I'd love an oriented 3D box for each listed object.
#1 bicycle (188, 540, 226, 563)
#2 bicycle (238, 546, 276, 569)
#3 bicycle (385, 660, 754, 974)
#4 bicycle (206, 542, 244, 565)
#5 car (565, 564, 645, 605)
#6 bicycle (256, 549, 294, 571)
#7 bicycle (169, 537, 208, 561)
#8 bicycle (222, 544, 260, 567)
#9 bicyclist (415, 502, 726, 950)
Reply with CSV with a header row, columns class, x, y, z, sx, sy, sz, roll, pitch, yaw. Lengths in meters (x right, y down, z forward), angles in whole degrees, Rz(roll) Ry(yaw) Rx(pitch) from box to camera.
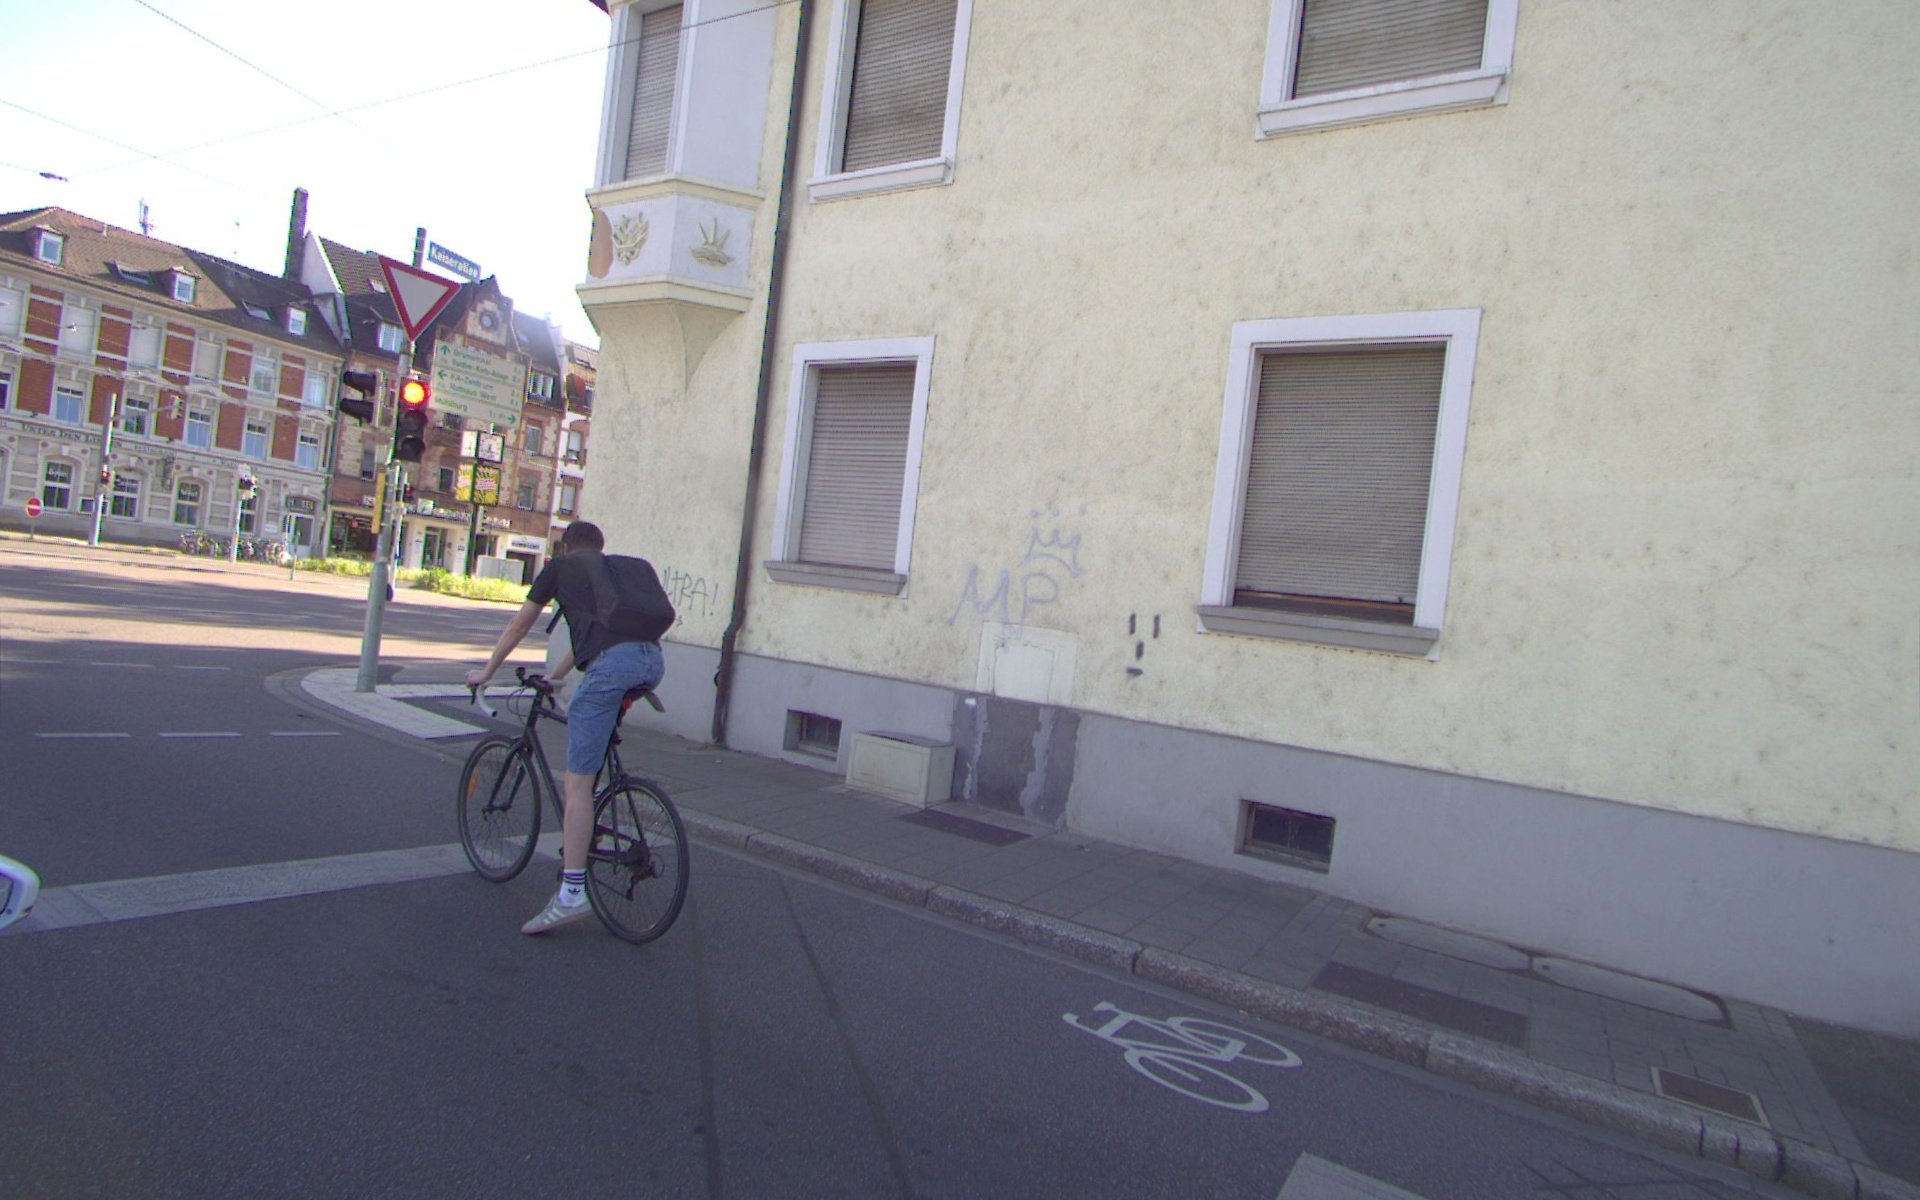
class,x,y,z,sx,sy,sz,roll,pitch,yaw
bicycle,-34.551,-2.228,46.145,2.125,0.850,0.659,6,-2,33
bicycle,-33.488,-2.018,47.893,2.125,0.850,0.659,6,-2,33
bicycle,-1.791,0.875,4.505,1.721,0.982,0.519,7,0,32
bicycle,-34.177,-2.154,46.766,2.125,0.850,0.659,6,-2,33
car,-23.008,-0.996,65.324,1.968,2.038,4.430,7,-1,34
bicycle,-33.100,-1.939,48.598,2.125,0.850,0.659,6,-2,33
bicycle,-34.867,-2.296,45.478,2.125,0.850,0.659,6,-2,33
bicycle,-33.843,-2.086,47.363,2.125,0.850,0.659,6,-2,33
bicyclist,-1.743,0.491,4.484,1.098,1.722,0.573,7,0,32
